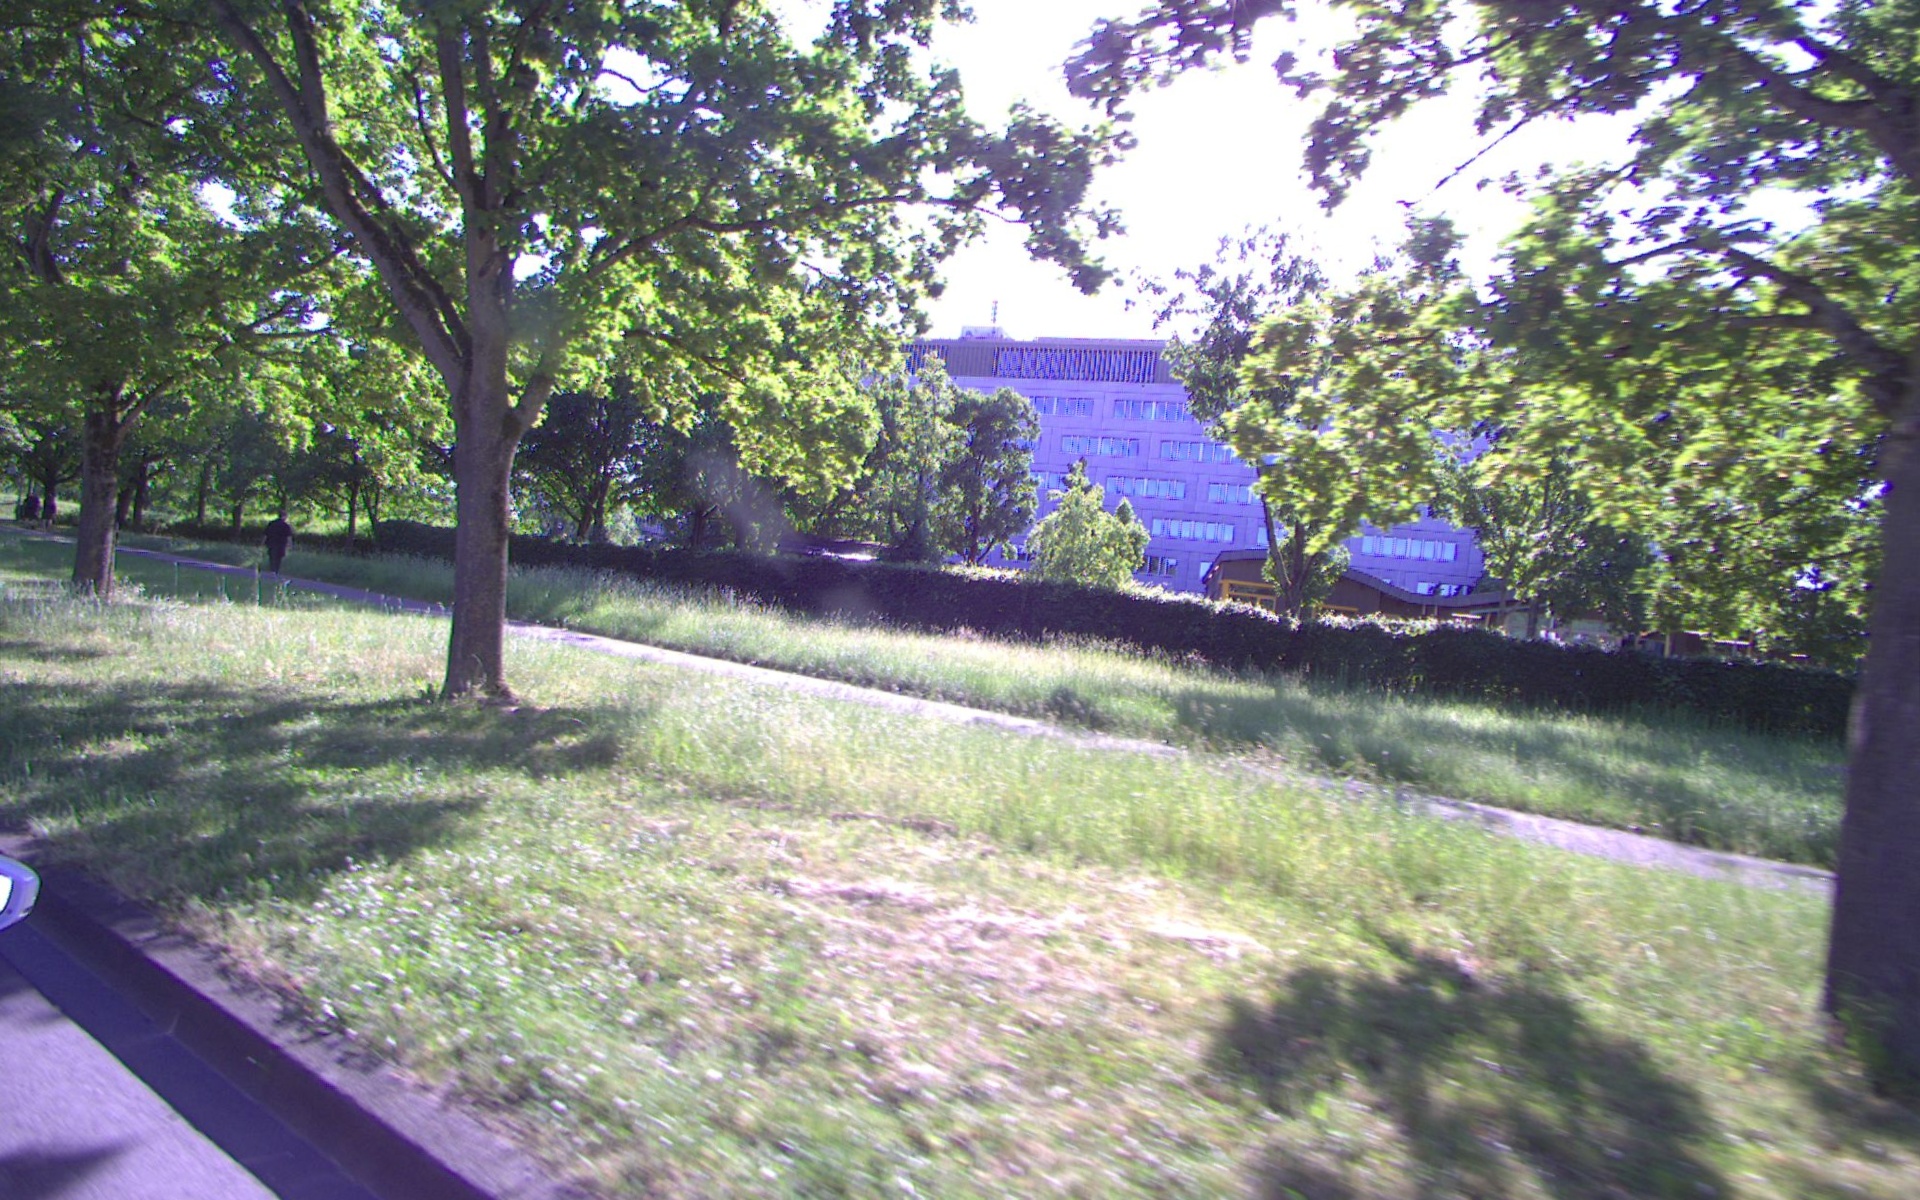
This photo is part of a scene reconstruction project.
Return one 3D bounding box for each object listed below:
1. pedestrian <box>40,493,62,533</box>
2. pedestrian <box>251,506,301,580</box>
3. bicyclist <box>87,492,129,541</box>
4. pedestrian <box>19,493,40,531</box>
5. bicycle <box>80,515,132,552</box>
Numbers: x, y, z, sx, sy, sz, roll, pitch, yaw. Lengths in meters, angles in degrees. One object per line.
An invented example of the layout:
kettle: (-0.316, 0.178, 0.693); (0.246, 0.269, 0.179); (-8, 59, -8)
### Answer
pedestrian: (-41.185, -3.923, 45.588); (0.633, 1.713, 0.834); (5, 1, -41)
pedestrian: (-18.190, -1.515, 26.756); (0.782, 1.825, 0.716); (7, 0, 36)
bicyclist: (-27.383, -2.671, 32.354); (0.783, 1.468, 0.839); (6, 0, -29)
pedestrian: (-41.781, -3.957, 45.182); (0.544, 1.642, 0.834); (5, 1, -41)
bicycle: (-27.446, -2.129, 32.378); (0.788, 1.060, 2.127); (6, 0, -29)
